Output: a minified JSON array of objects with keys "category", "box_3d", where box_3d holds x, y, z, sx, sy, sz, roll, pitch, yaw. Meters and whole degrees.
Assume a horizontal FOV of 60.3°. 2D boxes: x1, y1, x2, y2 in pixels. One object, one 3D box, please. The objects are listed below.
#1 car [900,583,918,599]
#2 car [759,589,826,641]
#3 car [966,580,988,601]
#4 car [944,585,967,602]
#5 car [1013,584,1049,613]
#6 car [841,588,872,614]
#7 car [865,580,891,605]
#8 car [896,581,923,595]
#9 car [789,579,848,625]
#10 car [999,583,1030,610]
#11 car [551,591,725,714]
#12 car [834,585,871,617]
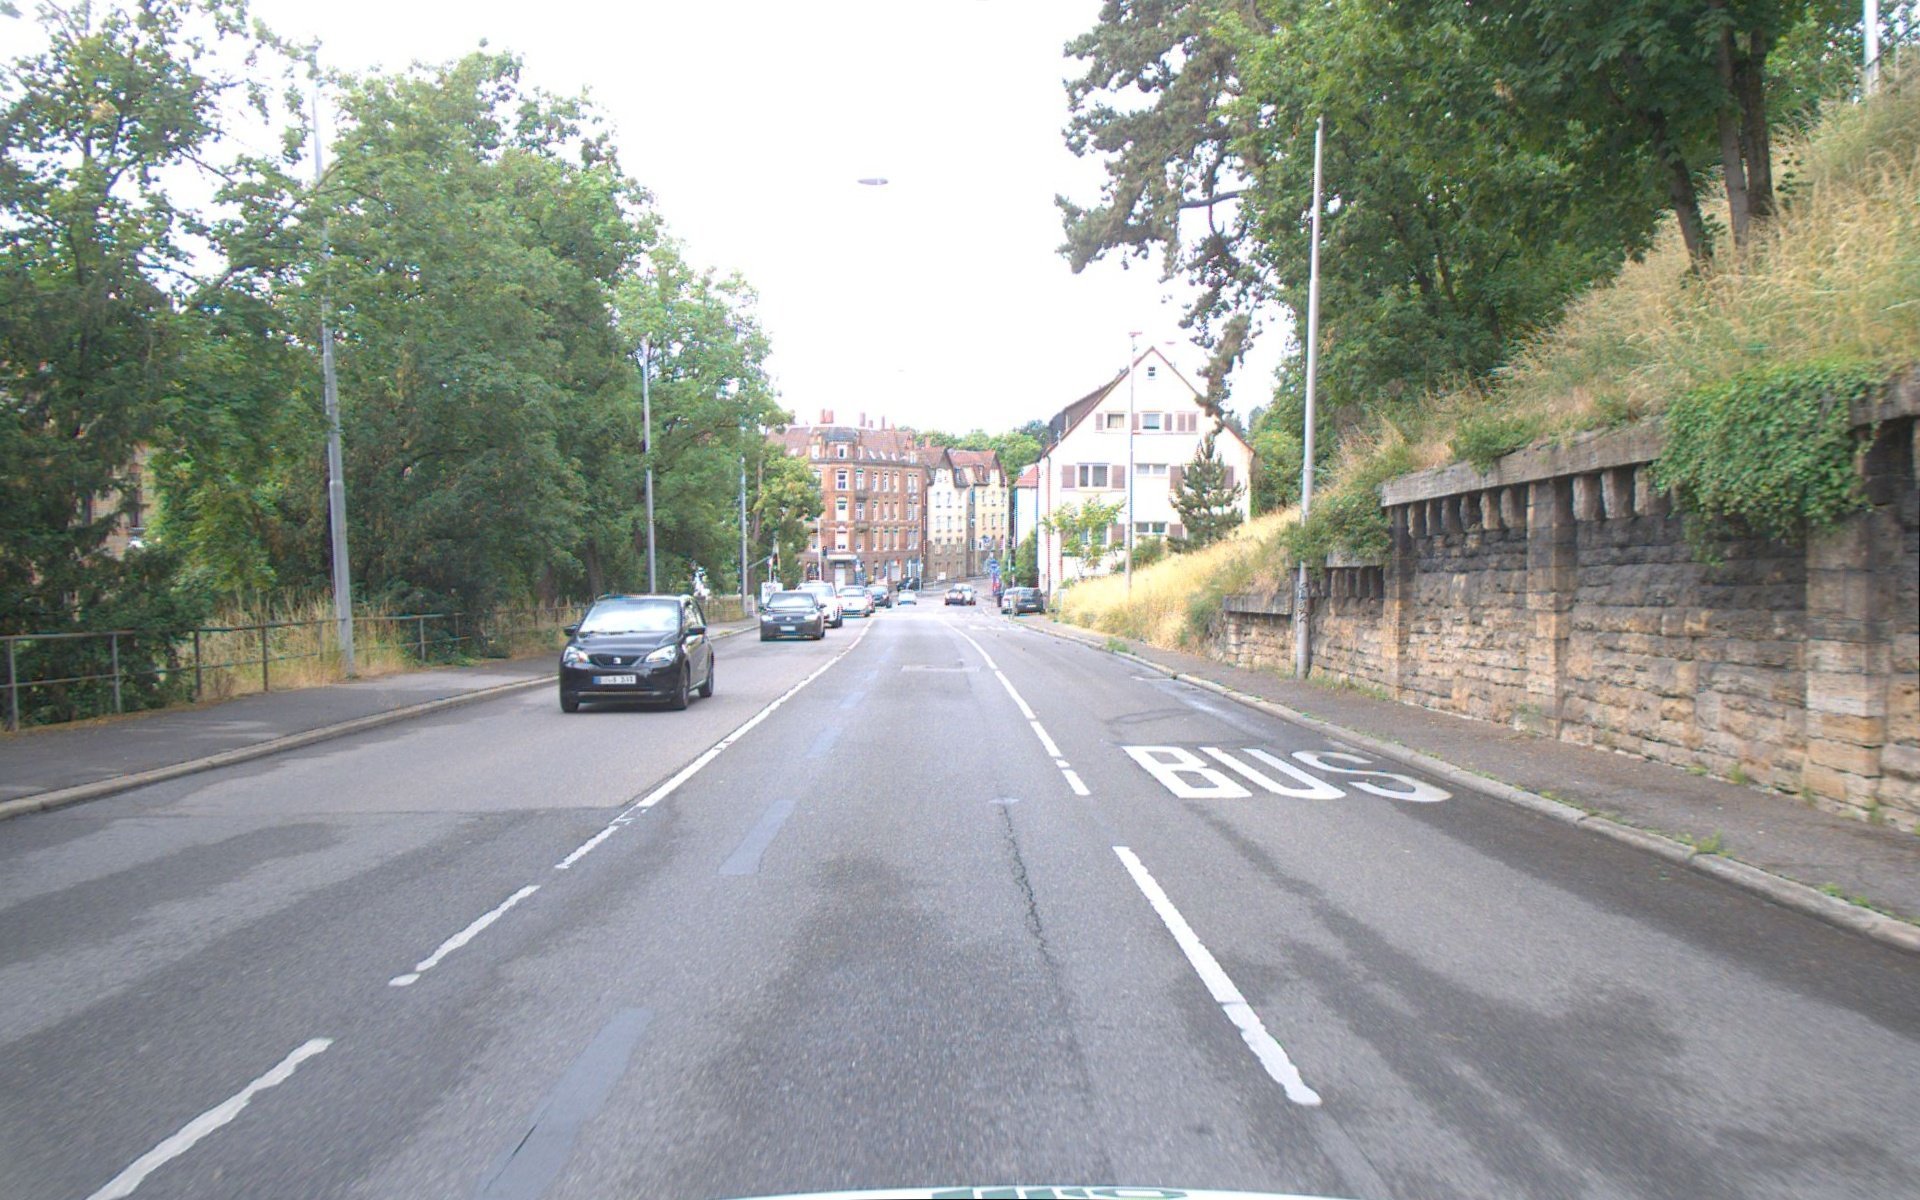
[{"category":"car","box_3d":[-4.868,-0.872,157.948,1.686,1.470,4.157,-1,0,-2]},{"category":"car","box_3d":[-4.936,0.409,49.124,1.678,1.452,4.137,-1,1,-2]},{"category":"car","box_3d":[1.611,-0.914,157.355,1.869,1.917,4.002,1,0,3]},{"category":"car","box_3d":[-0.394,-0.601,150.699,1.778,1.455,4.002,1,1,3]},{"category":"car","box_3d":[3.851,-0.071,90.320,1.648,1.476,3.999,-4,0,-1]},{"category":"car","box_3d":[-6.290,0.031,100.747,1.748,1.485,4.427,-1,0,-2]},{"category":"car","box_3d":[-6.018,-0.533,121.228,1.747,1.776,4.428,-1,0,-1]},{"category":"car","box_3d":[-6.116,-1.432,199.502,1.940,1.602,4.378,-2,0,16]},{"category":"car","box_3d":[-5.519,0.041,65.050,1.955,1.712,4.662,-1,1,-1]},{"category":"car","box_3d":[3.293,-0.233,99.256,1.757,1.476,4.720,-3,1,2]},{"category":"car","box_3d":[-4.247,0.640,22.330,1.635,1.472,3.688,-1,1,-1]},{"category":"car","box_3d":[-5.576,0.035,86.145,1.748,1.602,4.279,-1,0,-2]}]
